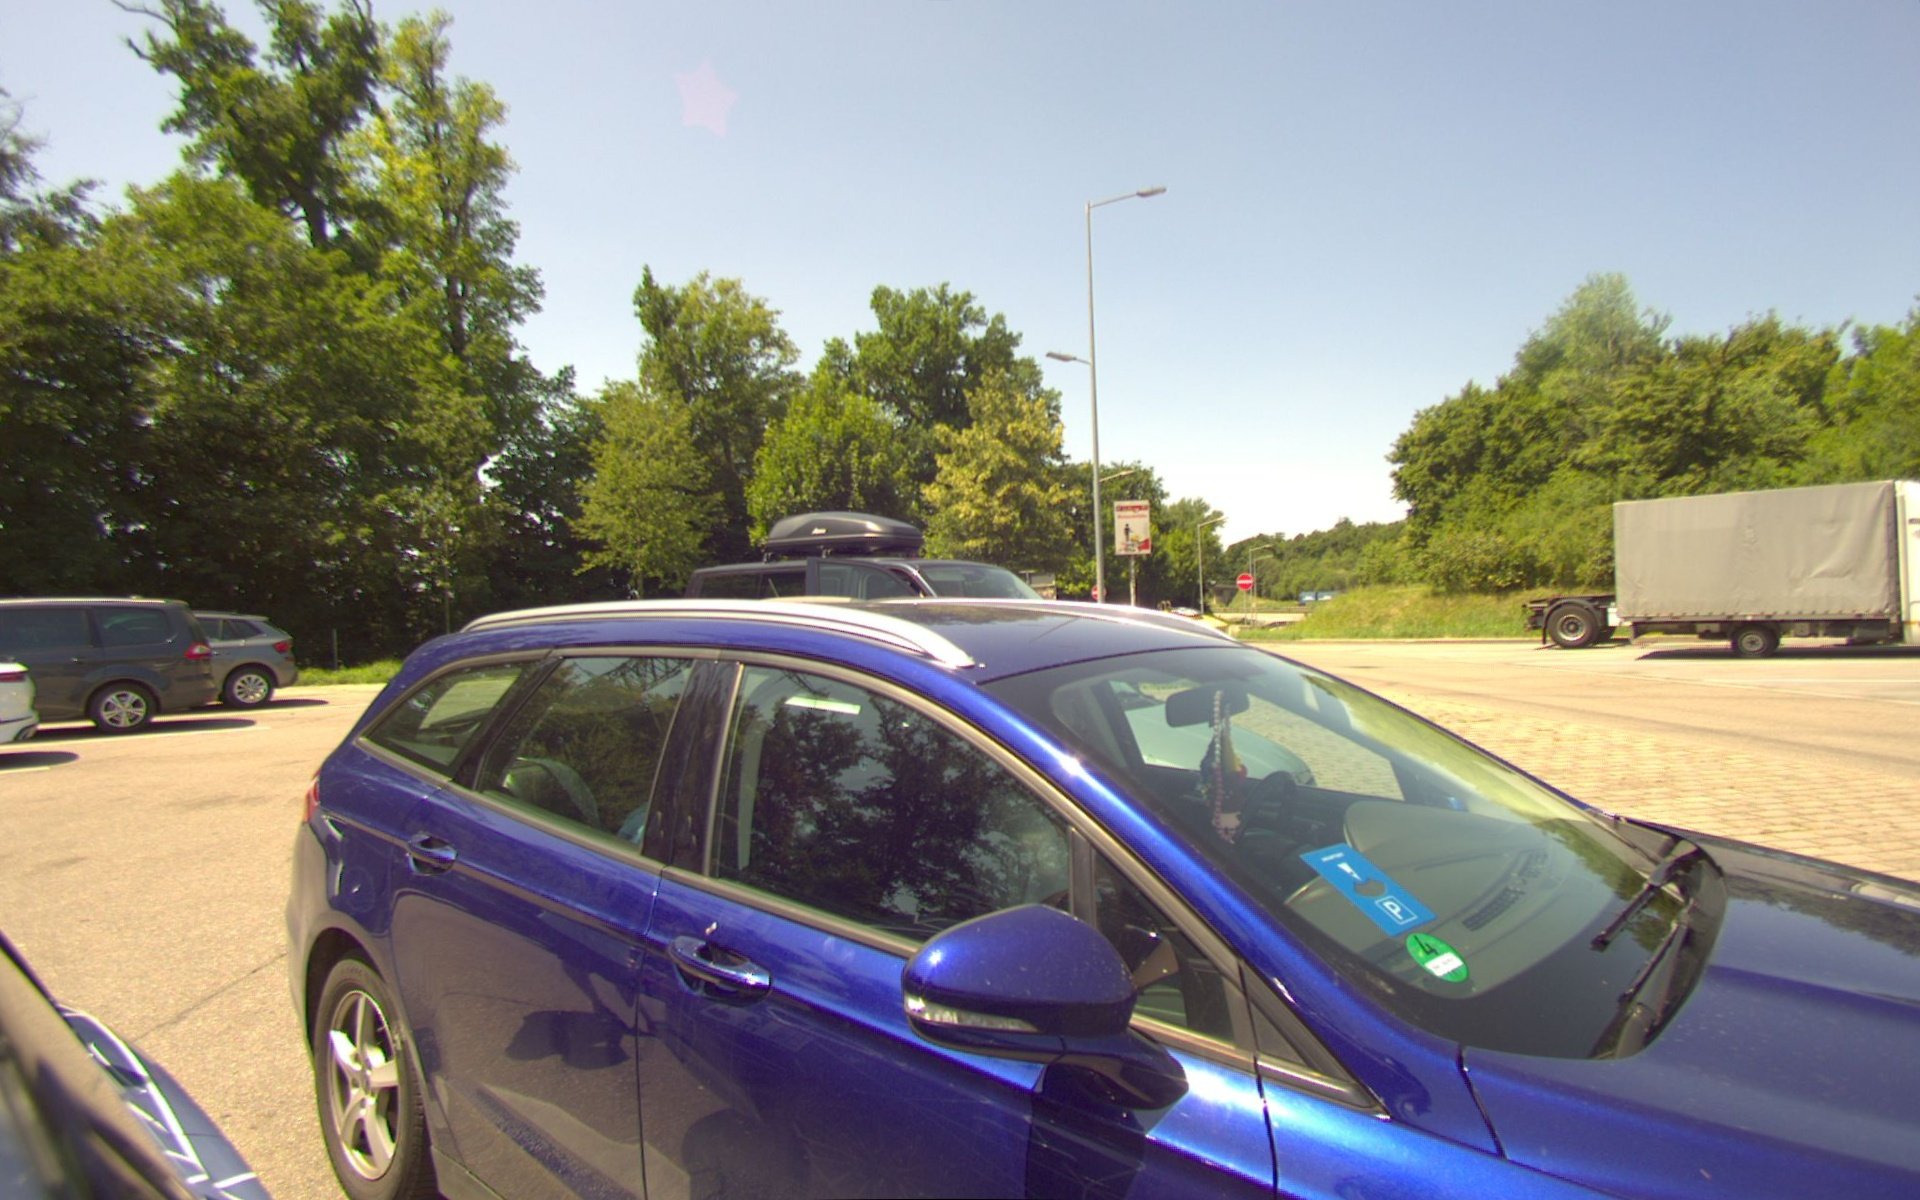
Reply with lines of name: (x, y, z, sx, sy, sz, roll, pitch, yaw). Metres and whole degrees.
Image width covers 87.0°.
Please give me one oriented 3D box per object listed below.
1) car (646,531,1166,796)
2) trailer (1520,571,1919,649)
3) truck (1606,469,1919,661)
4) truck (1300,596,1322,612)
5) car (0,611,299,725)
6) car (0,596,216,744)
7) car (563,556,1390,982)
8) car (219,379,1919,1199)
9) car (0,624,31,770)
car: (-0.667, 0.510, 9.386, 4.635, 1.884, 1.937, -3, 0, 37)
trailer: (17.631, 0.279, 23.177, 8.088, 1.385, 2.200, -4, -1, 41)
truck: (16.701, -0.629, 18.955, 7.337, 3.235, 2.502, -4, -1, 41)
truck: (70.170, 0.688, 202.419, 1.974, 3.110, 7.521, -1, 0, 3)
car: (-12.599, 0.967, 15.734, 3.762, 1.551, 1.724, 0, -1, -38)
car: (-11.662, 0.835, 12.653, 3.762, 1.737, 1.724, 0, -1, -38)
car: (-0.224, 0.673, 5.812, 4.637, 1.545, 1.720, -3, 0, 39)
car: (0.237, 0.637, 2.100, 4.637, 1.493, 1.720, -3, -1, 39)
car: (-11.004, 0.946, 9.188, 3.767, 1.396, 1.722, 0, -1, -43)
